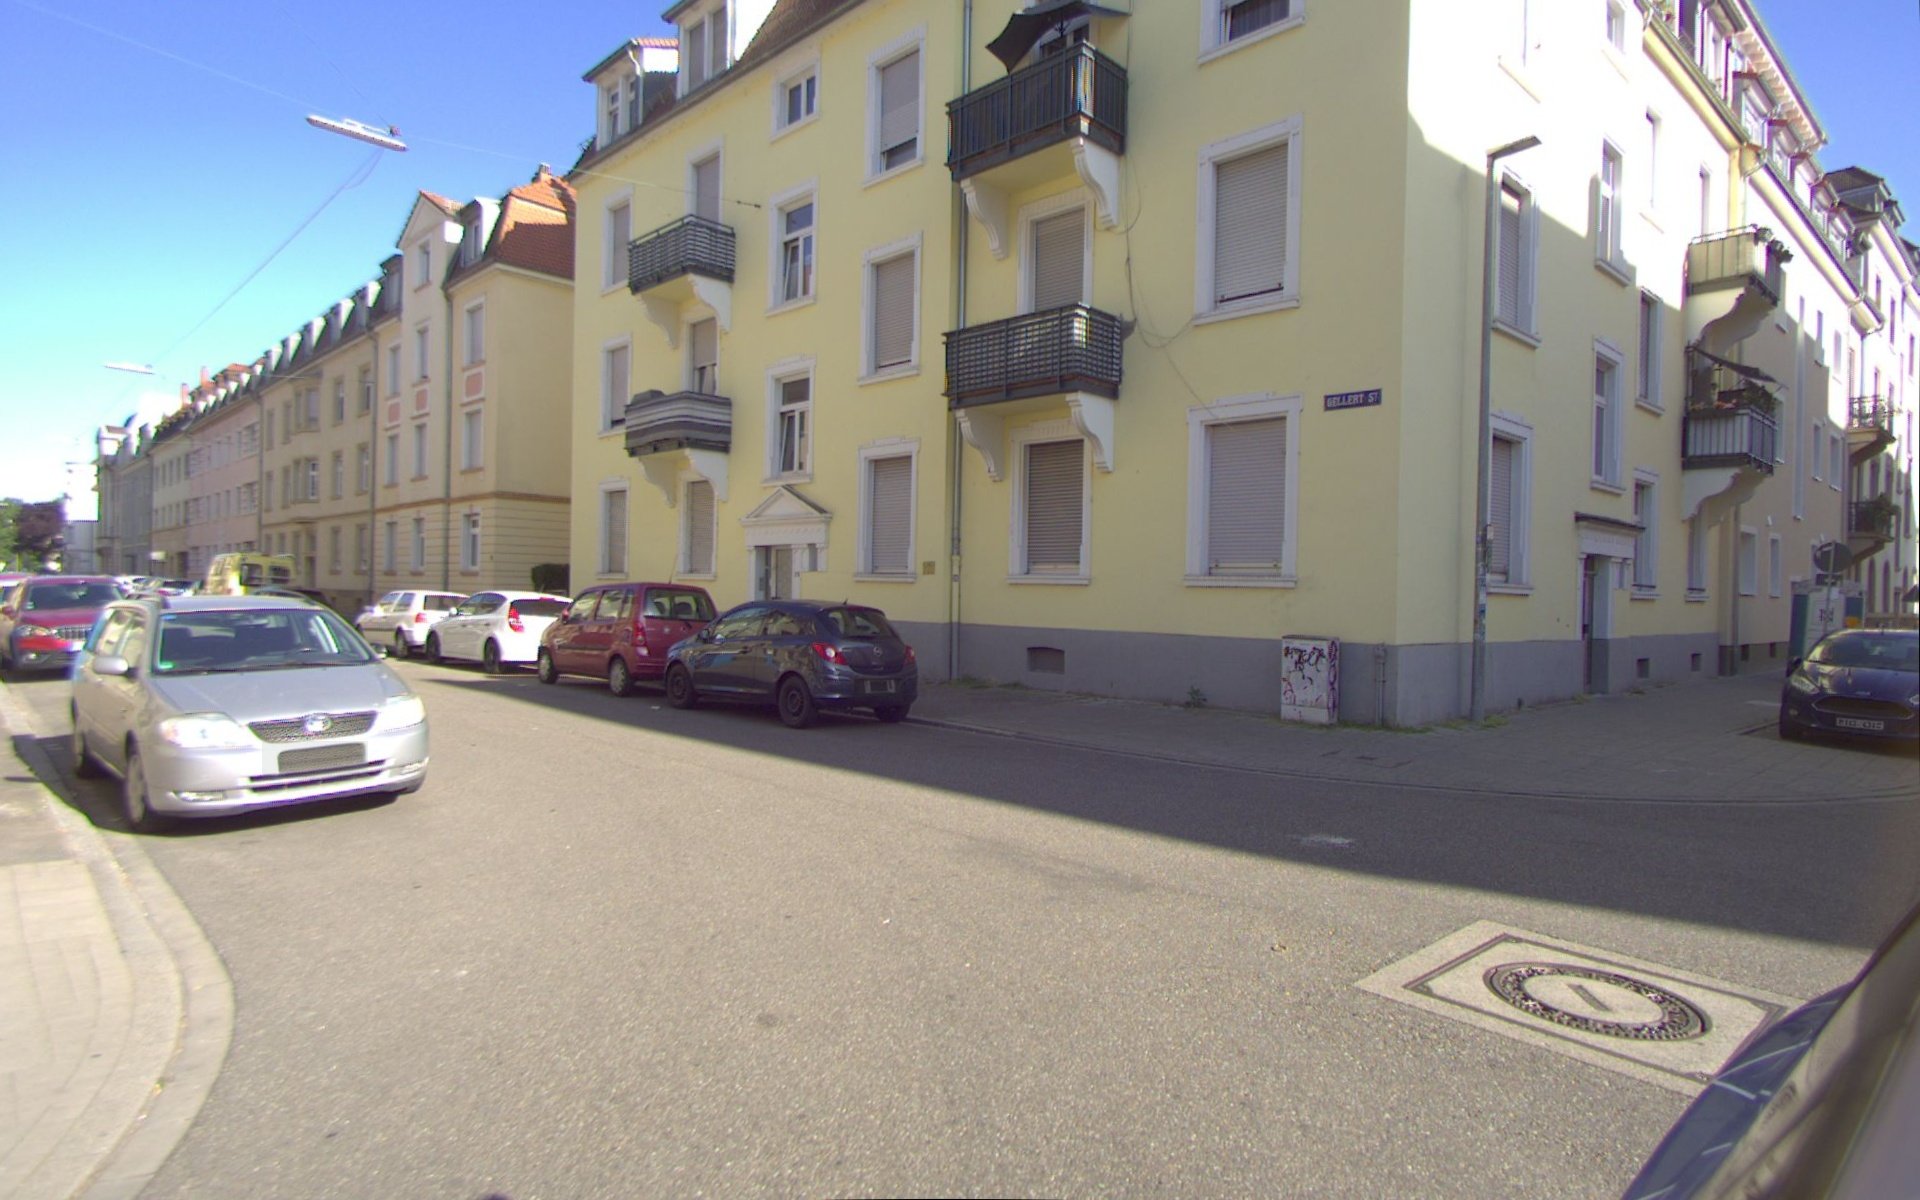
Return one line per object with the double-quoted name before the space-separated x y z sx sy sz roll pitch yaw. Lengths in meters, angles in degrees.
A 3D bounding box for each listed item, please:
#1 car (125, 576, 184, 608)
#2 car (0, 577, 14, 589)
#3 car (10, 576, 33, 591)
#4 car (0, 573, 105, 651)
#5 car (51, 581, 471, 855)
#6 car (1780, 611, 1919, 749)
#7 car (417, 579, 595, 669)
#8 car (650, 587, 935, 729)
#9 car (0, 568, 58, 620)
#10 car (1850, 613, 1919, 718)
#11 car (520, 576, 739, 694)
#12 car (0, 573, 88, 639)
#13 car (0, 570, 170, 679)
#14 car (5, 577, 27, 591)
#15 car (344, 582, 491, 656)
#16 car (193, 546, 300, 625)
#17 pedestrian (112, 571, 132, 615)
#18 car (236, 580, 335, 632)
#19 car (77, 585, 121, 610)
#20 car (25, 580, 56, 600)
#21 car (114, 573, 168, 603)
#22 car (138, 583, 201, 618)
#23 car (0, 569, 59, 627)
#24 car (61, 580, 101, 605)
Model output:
"car" -39.526 -0.418 49.621 3.854 1.452 1.666 1 -1 43
"car" -135.198 -2.380 143.259 3.854 1.625 1.666 1 -1 43
"car" -108.041 -1.880 116.517 3.854 1.625 1.666 1 -1 43
"car" -20.091 0.187 22.047 4.112 1.487 1.727 1 4 43
"car" -5.654 0.626 7.923 4.537 1.486 1.800 2 2 43
"car" 12.145 0.952 13.175 4.017 1.489 1.765 1 3 -44
"car" -8.577 0.408 18.981 3.854 1.490 1.666 1 -1 43
"car" -2.209 0.643 12.805 3.621 1.487 1.666 1 -1 43
"car" -29.831 -0.236 31.913 4.112 1.547 1.726 1 2 43
"car" 16.135 1.038 16.375 5.020 1.489 1.805 1 3 -40
"car" -5.232 0.487 15.822 3.621 1.620 1.666 1 -1 43
"car" -23.158 0.088 25.233 4.112 1.488 1.726 1 2 43
"car" -14.819 0.296 16.974 4.537 1.573 1.800 2 2 43
"car" -119.807 -2.000 128.425 3.854 1.625 1.666 1 -1 43
"car" -11.952 0.384 22.206 3.854 1.452 1.666 1 -1 43
"car" -24.649 -0.503 34.887 4.911 2.474 1.994 1 -1 43
"pedestrian" -33.324 -0.277 40.229 0.608 1.738 0.524 1 0 43
"car" -20.705 0.157 31.024 3.854 1.452 1.666 1 -1 43
"car" -54.498 -0.159 64.061 3.854 1.452 1.666 1 -1 43
"car" -79.642 -0.904 87.656 3.854 1.625 1.666 1 -1 43
"car" -42.971 -0.644 53.074 3.854 1.452 1.666 1 -1 43
"car" -36.019 0.029 46.078 3.854 1.452 1.666 1 -1 43
"car" -26.843 -0.099 28.568 4.112 1.547 1.726 1 2 43
"car" -61.333 -0.559 70.601 3.854 1.625 1.666 1 -1 43
